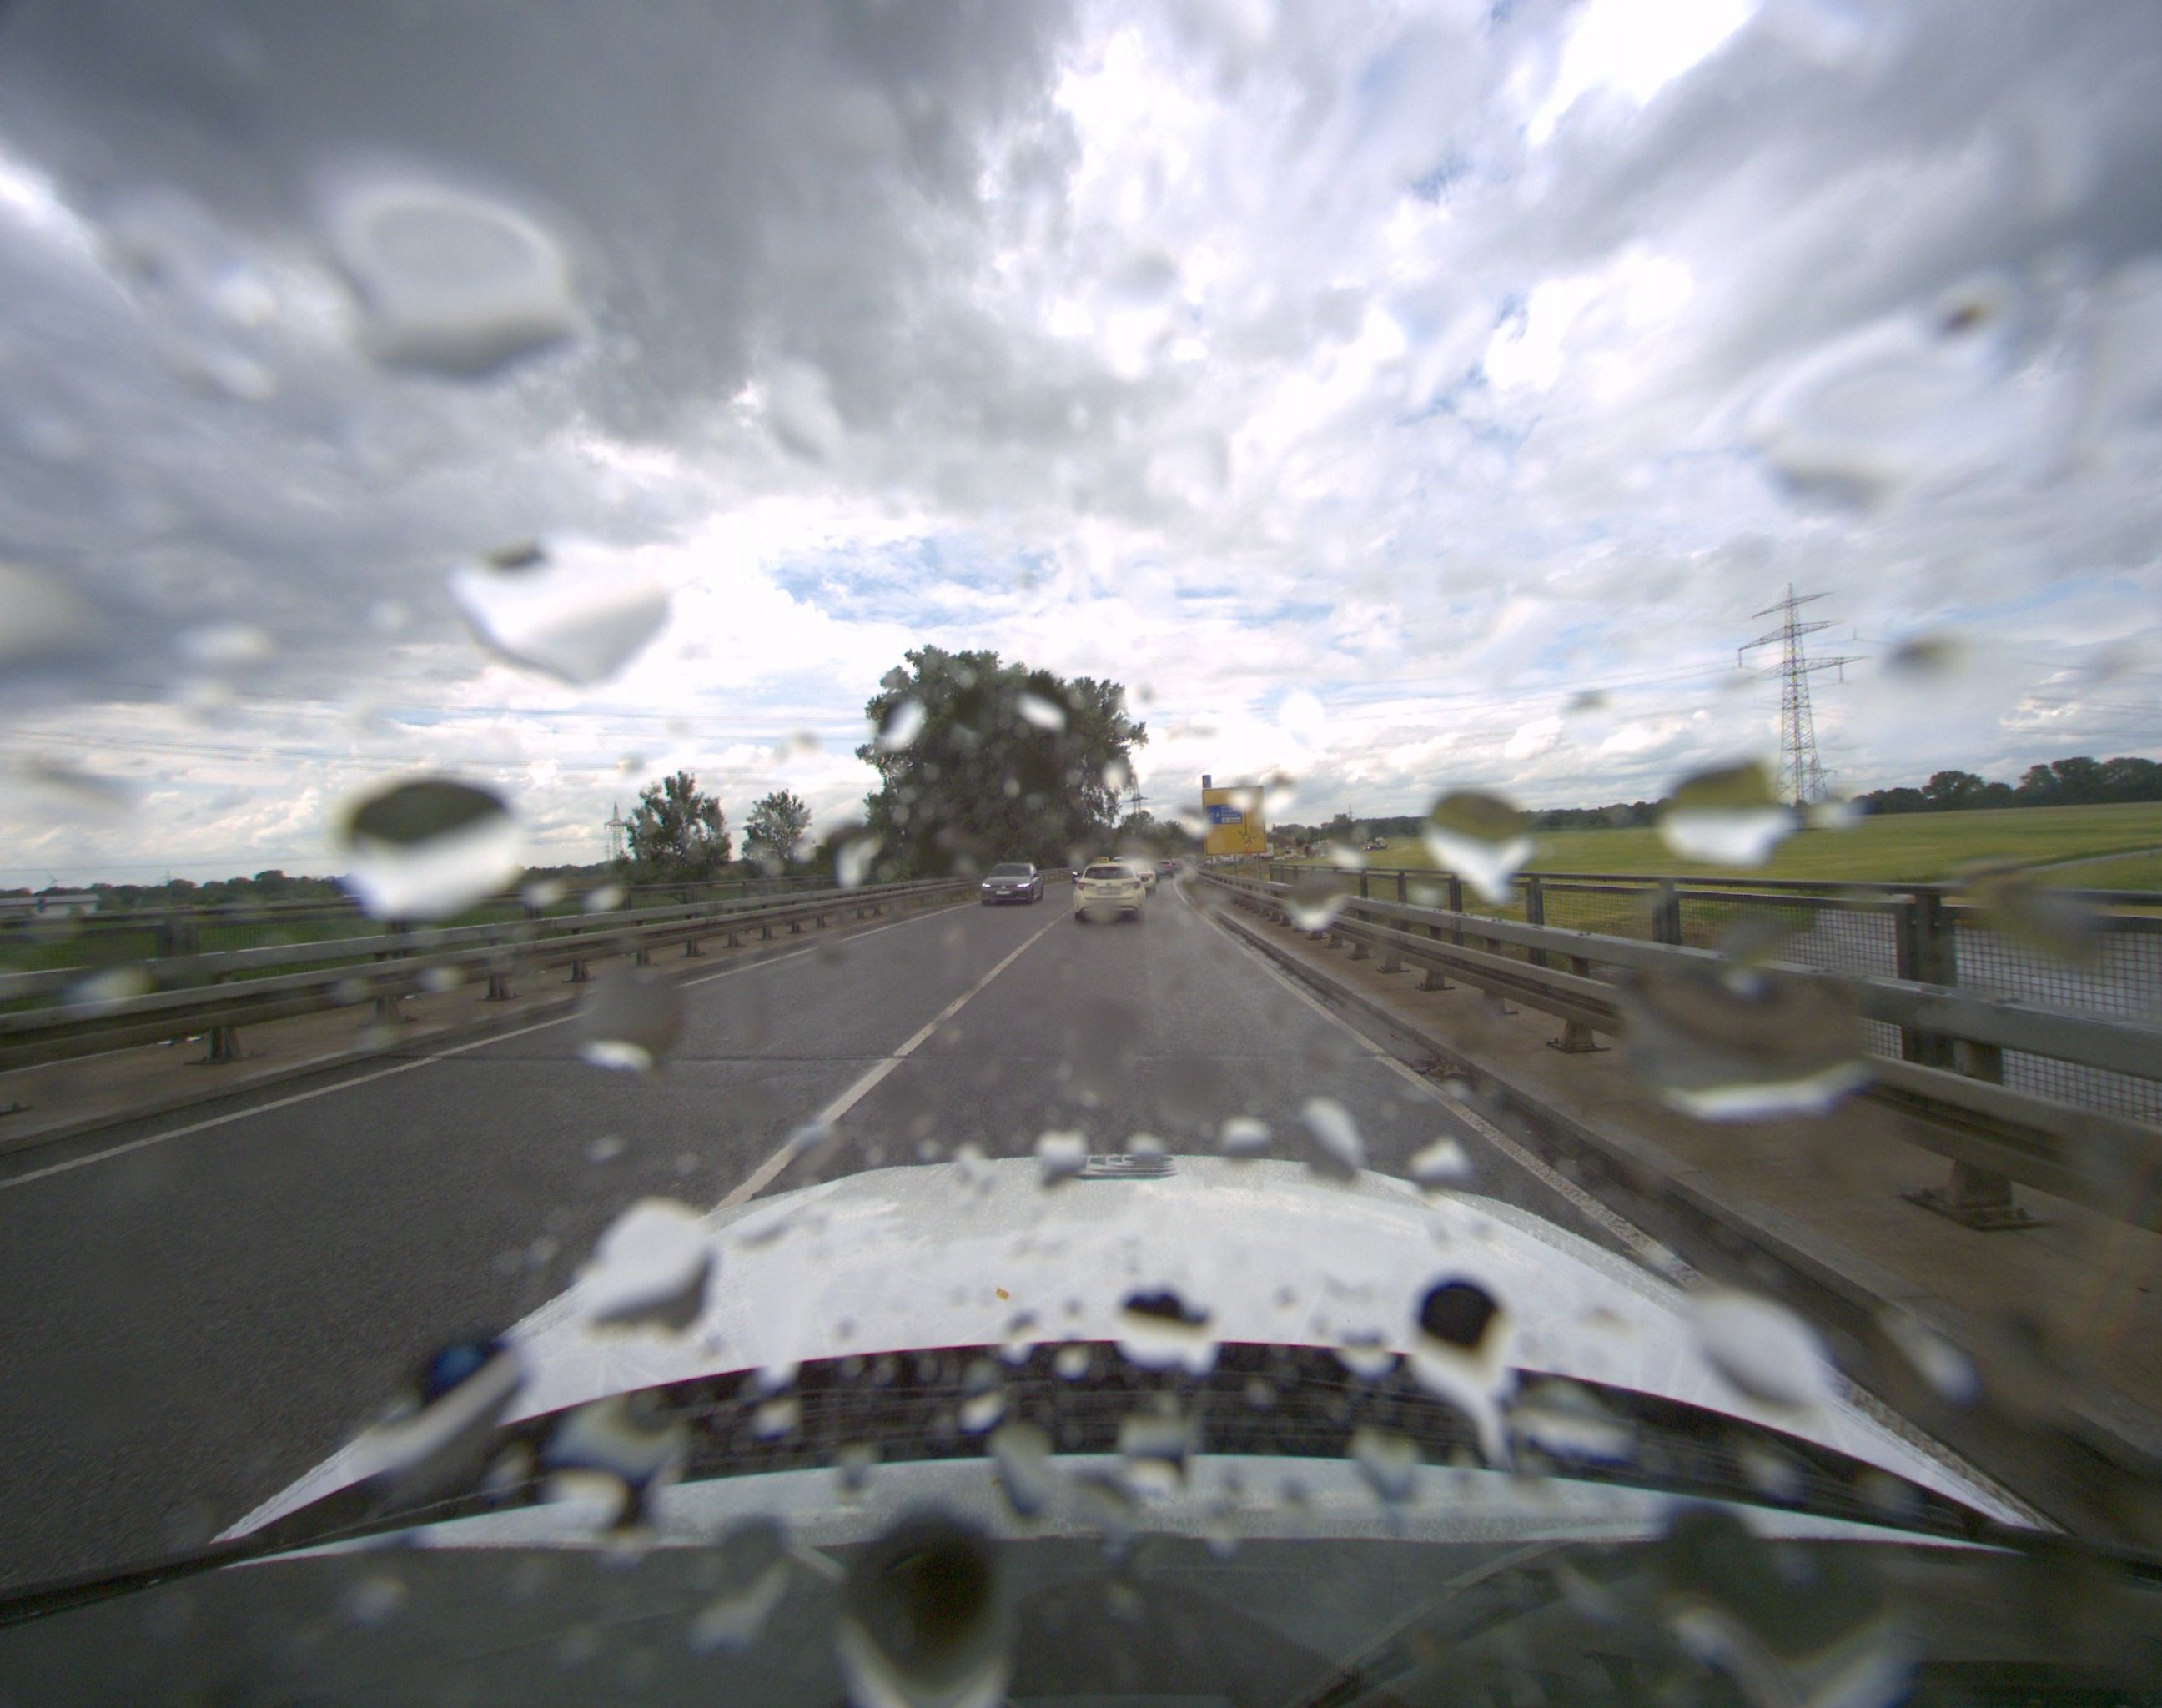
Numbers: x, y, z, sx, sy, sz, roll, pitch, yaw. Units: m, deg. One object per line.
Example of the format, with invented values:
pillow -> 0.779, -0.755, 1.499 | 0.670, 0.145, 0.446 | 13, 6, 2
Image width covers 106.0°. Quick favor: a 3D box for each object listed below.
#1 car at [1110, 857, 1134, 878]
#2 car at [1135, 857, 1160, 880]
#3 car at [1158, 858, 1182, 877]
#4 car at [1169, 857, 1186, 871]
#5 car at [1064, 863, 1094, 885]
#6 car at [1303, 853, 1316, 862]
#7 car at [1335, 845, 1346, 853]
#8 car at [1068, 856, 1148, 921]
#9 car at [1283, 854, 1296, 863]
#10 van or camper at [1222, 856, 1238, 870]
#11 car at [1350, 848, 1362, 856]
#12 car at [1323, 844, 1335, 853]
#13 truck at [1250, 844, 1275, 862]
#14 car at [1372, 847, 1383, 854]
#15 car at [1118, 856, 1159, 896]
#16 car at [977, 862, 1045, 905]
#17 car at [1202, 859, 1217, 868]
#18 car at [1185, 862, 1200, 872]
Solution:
car -> 3.860, 1.231, 76.640 | 1.851, 1.892, 4.499 | -1, 0, 7
car -> 4.342, 0.969, 53.627 | 1.499, 1.437, 3.358 | -1, -1, 3
car -> 7.344, 1.078, 66.846 | 1.654, 1.464, 3.487 | -1, -1, 11
car -> 10.655, 1.100, 89.749 | 1.650, 1.409, 3.914 | -1, -2, 9
car -> -0.079, 1.297, 54.529 | 1.689, 1.400, 4.336 | -1, -1, 4
car -> 55.602, 0.882, 198.064 | 1.974, 2.014, 4.024 | -1, -1, 29
car -> 69.173, -1.265, 216.845 | 1.975, 2.014, 4.024 | -1, -1, 28
car -> 0.726, 0.851, 21.598 | 1.899, 1.537, 4.163 | -1, -1, 2
car -> 47.428, 1.020, 185.229 | 2.146, 2.014, 4.024 | -1, -1, 28
van or camper -> 25.171, 1.584, 137.800 | 1.977, 2.254, 4.019 | -1, -1, 19
car -> 76.532, -0.612, 226.289 | 1.974, 2.014, 4.025 | -1, -2, 37
car -> 64.023, -1.425, 209.834 | 2.205, 2.014, 4.024 | -1, -1, 28
truck -> 36.894, -0.192, 164.995 | 3.111, 3.562, 7.566 | -1, -1, 27
car -> 89.002, -1.166, 244.183 | 1.745, 2.013, 4.025 | -1, 0, 39
car -> 2.470, 0.905, 34.356 | 1.570, 1.572, 3.687 | -1, -1, 6
car -> -2.444, 1.028, 29.562 | 1.827, 1.443, 4.107 | -1, -1, 4
car -> 19.326, 1.356, 122.645 | 1.470, 1.309, 3.494 | -1, -1, 21
car -> 14.376, 1.661, 104.971 | 1.471, 1.309, 3.491 | -1, -1, 16
